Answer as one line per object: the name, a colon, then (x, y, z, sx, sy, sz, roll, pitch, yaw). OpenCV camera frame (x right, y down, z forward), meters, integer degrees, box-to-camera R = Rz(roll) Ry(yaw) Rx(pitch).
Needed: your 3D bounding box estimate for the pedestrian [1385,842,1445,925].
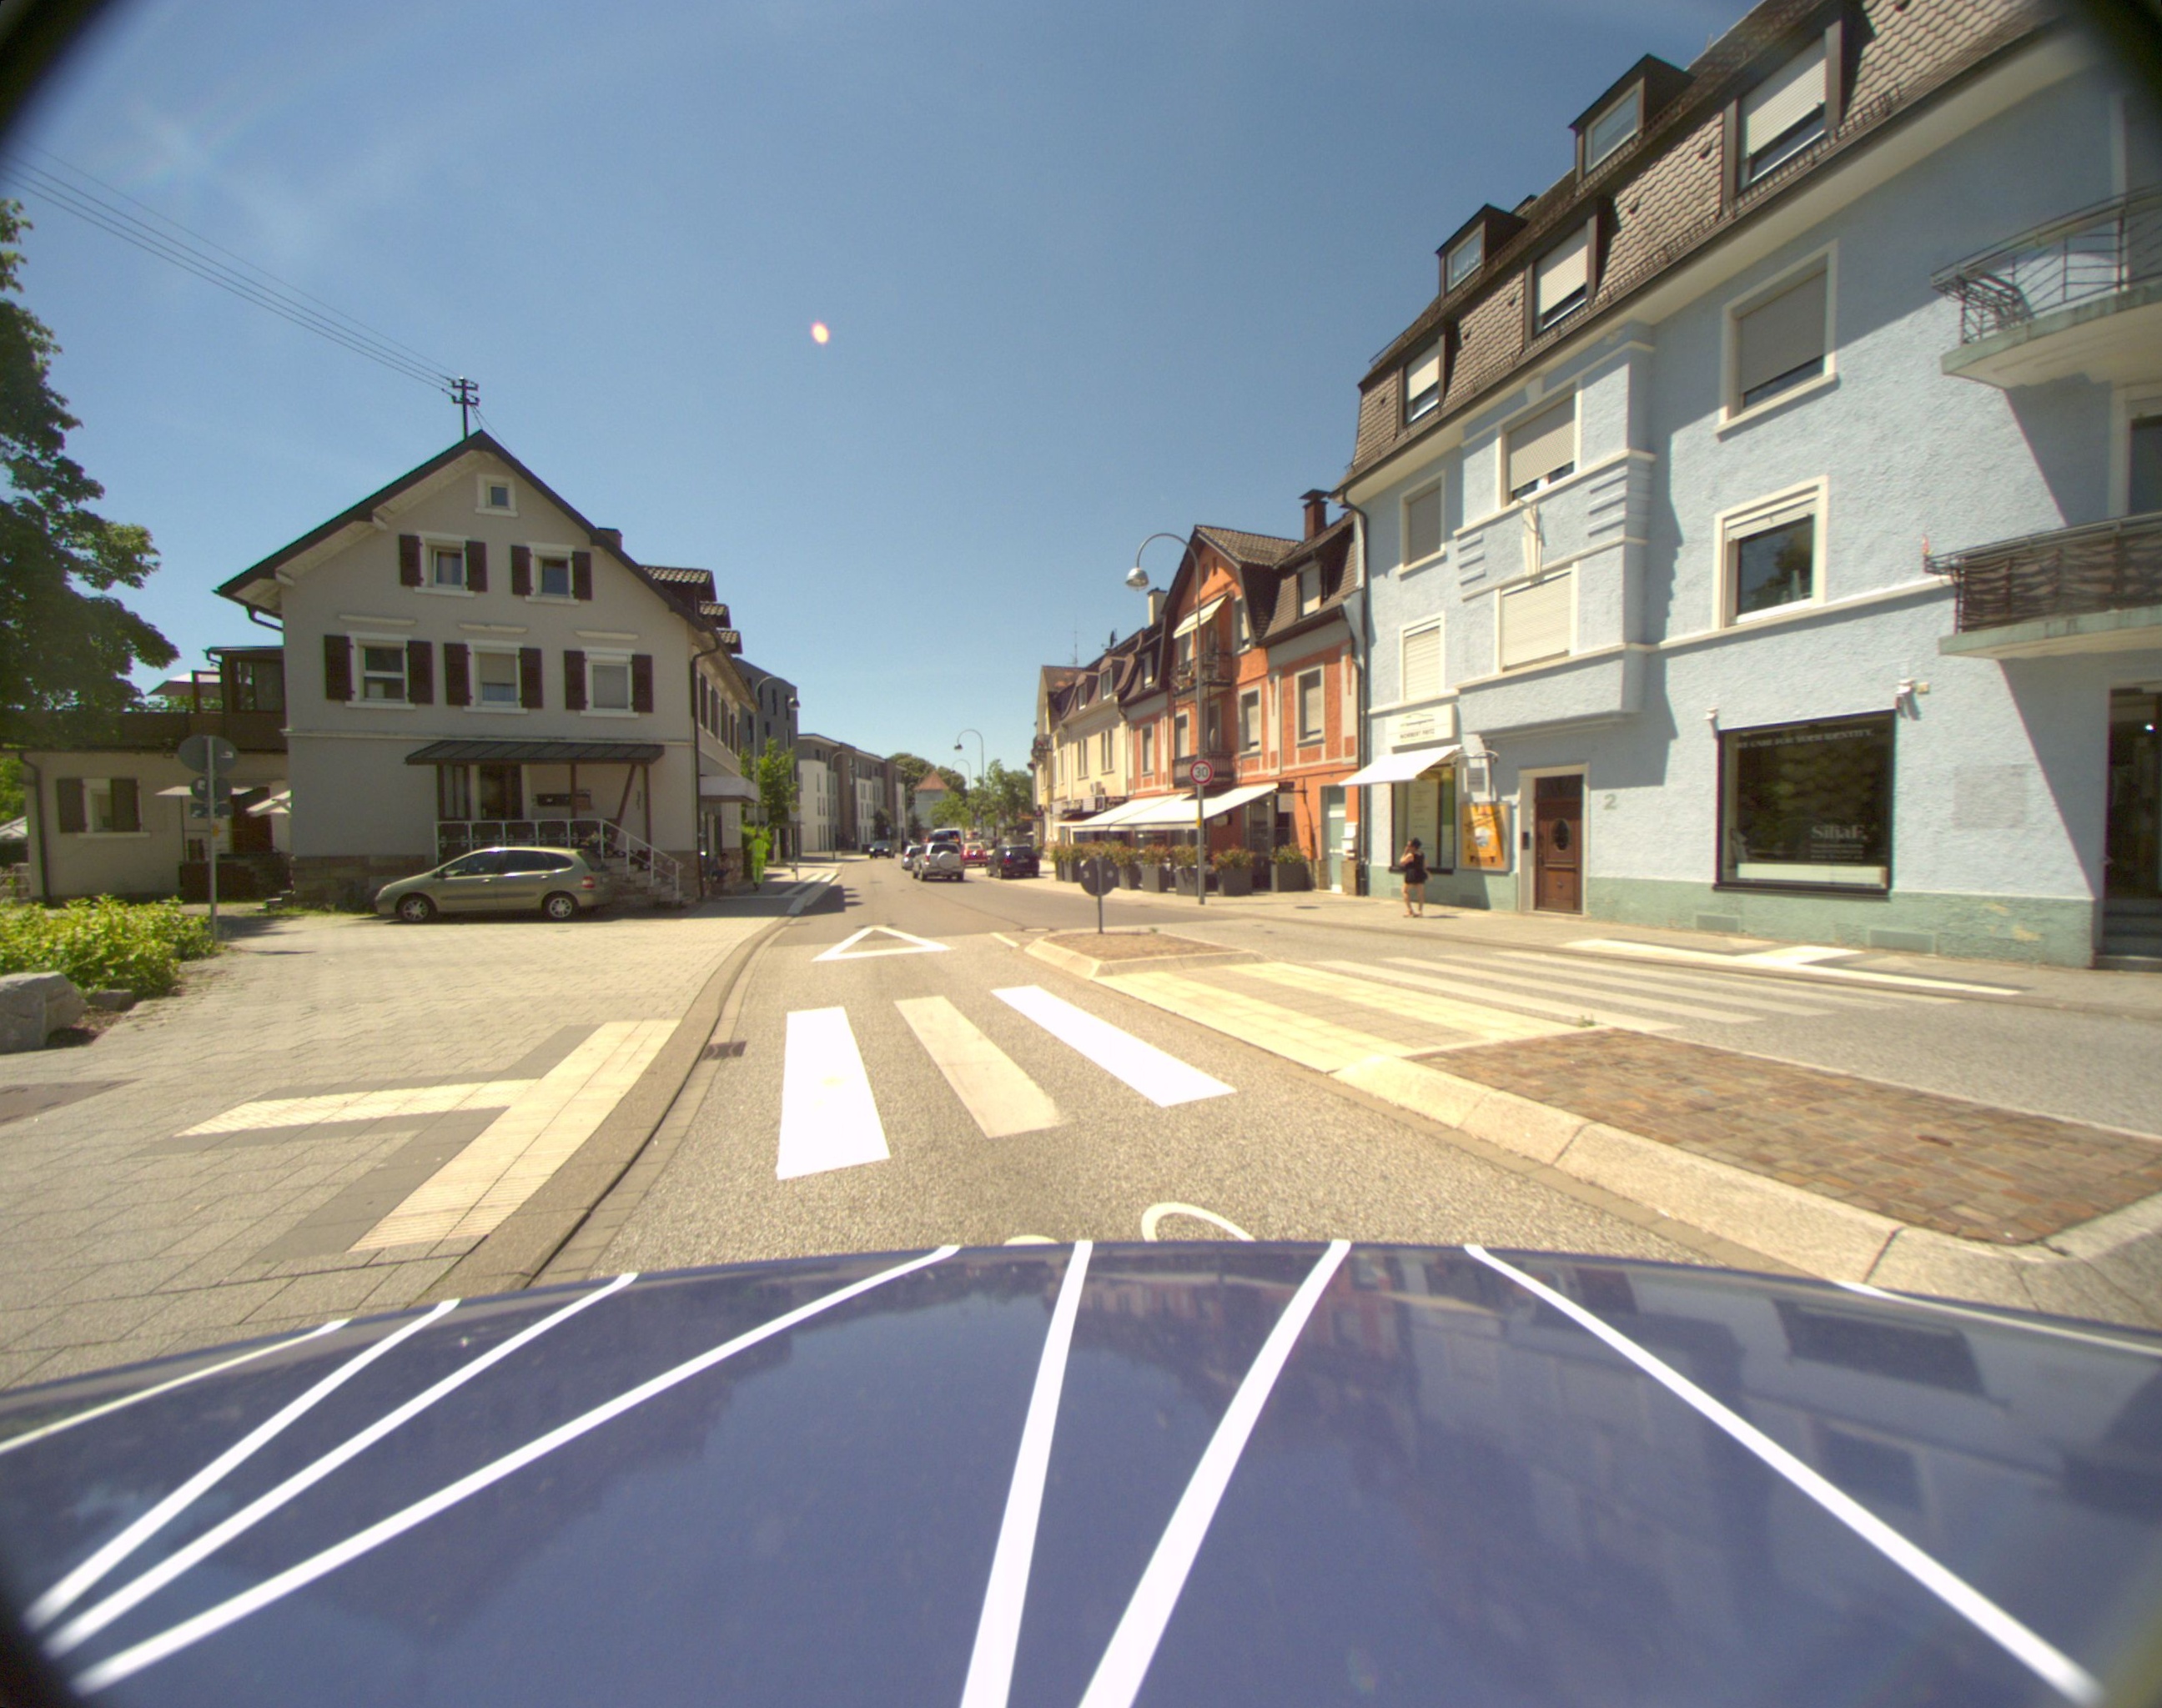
pedestrian: (6.431, 0.547, 14.658, 0.629, 1.516, 0.802, -4, 3, -21)

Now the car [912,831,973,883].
car: (-6.060, 0.087, 32.860, 1.933, 2.096, 4.441, 0, 1, -19)

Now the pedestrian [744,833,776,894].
pedestrian: (-10.833, 0.290, 25.616, 0.922, 2.019, 0.898, -2, 2, -23)

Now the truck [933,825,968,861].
truck: (-9.422, -0.810, 54.572, 1.963, 2.357, 4.330, -3, 2, -15)

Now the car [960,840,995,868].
car: (-6.448, -0.047, 47.068, 1.684, 1.537, 3.588, -3, 2, -15)

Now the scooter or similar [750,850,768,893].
scooter or similar: (-10.872, 0.574, 25.650, 0.528, 1.365, 1.344, -2, 2, -23)

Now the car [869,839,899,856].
car: (-18.997, -0.647, 73.416, 1.753, 1.537, 3.592, -2, 2, 1)

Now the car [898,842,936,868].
car: (-9.787, 0.050, 45.082, 1.685, 1.449, 3.586, 0, 1, -21)

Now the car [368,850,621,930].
car: (-12.664, 0.718, 16.726, 4.003, 1.587, 1.792, 0, 1, -16)

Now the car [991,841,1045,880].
car: (-2.873, 0.241, 33.949, 1.684, 1.537, 3.940, -3, 2, -15)

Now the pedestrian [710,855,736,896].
pedestrian: (-11.449, 0.684, 24.305, 0.686, 1.278, 0.580, -1, 2, -21)
